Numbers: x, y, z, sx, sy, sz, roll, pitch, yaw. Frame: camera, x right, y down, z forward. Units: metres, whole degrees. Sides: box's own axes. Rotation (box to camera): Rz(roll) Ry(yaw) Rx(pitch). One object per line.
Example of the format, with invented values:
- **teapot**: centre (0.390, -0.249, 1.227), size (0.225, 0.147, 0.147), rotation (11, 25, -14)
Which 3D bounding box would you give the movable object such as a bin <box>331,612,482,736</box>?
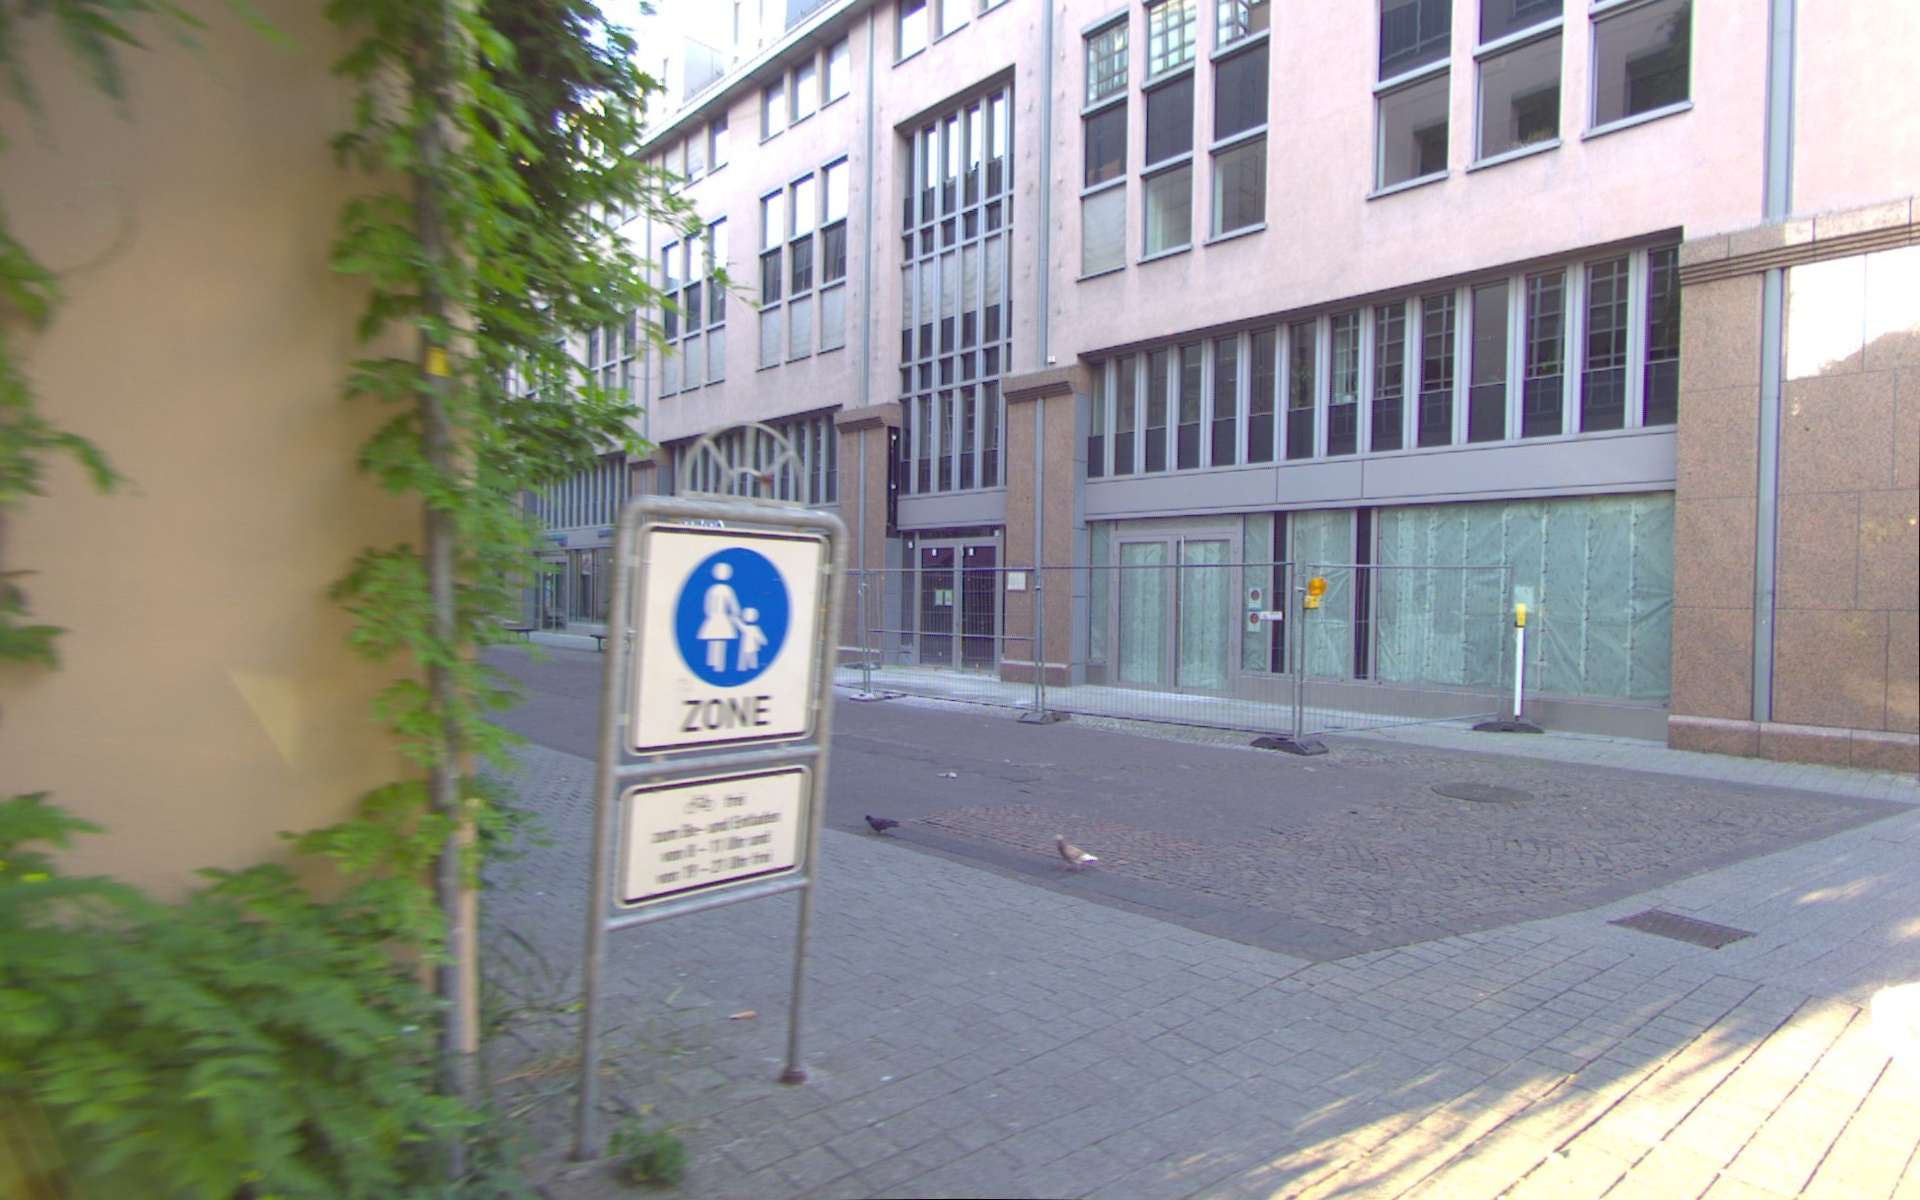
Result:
- **movable object such as a bin**: centre (-6.571, 0.862, 11.938), size (1.152, 1.347, 1.225), rotation (1, -3, 44)
